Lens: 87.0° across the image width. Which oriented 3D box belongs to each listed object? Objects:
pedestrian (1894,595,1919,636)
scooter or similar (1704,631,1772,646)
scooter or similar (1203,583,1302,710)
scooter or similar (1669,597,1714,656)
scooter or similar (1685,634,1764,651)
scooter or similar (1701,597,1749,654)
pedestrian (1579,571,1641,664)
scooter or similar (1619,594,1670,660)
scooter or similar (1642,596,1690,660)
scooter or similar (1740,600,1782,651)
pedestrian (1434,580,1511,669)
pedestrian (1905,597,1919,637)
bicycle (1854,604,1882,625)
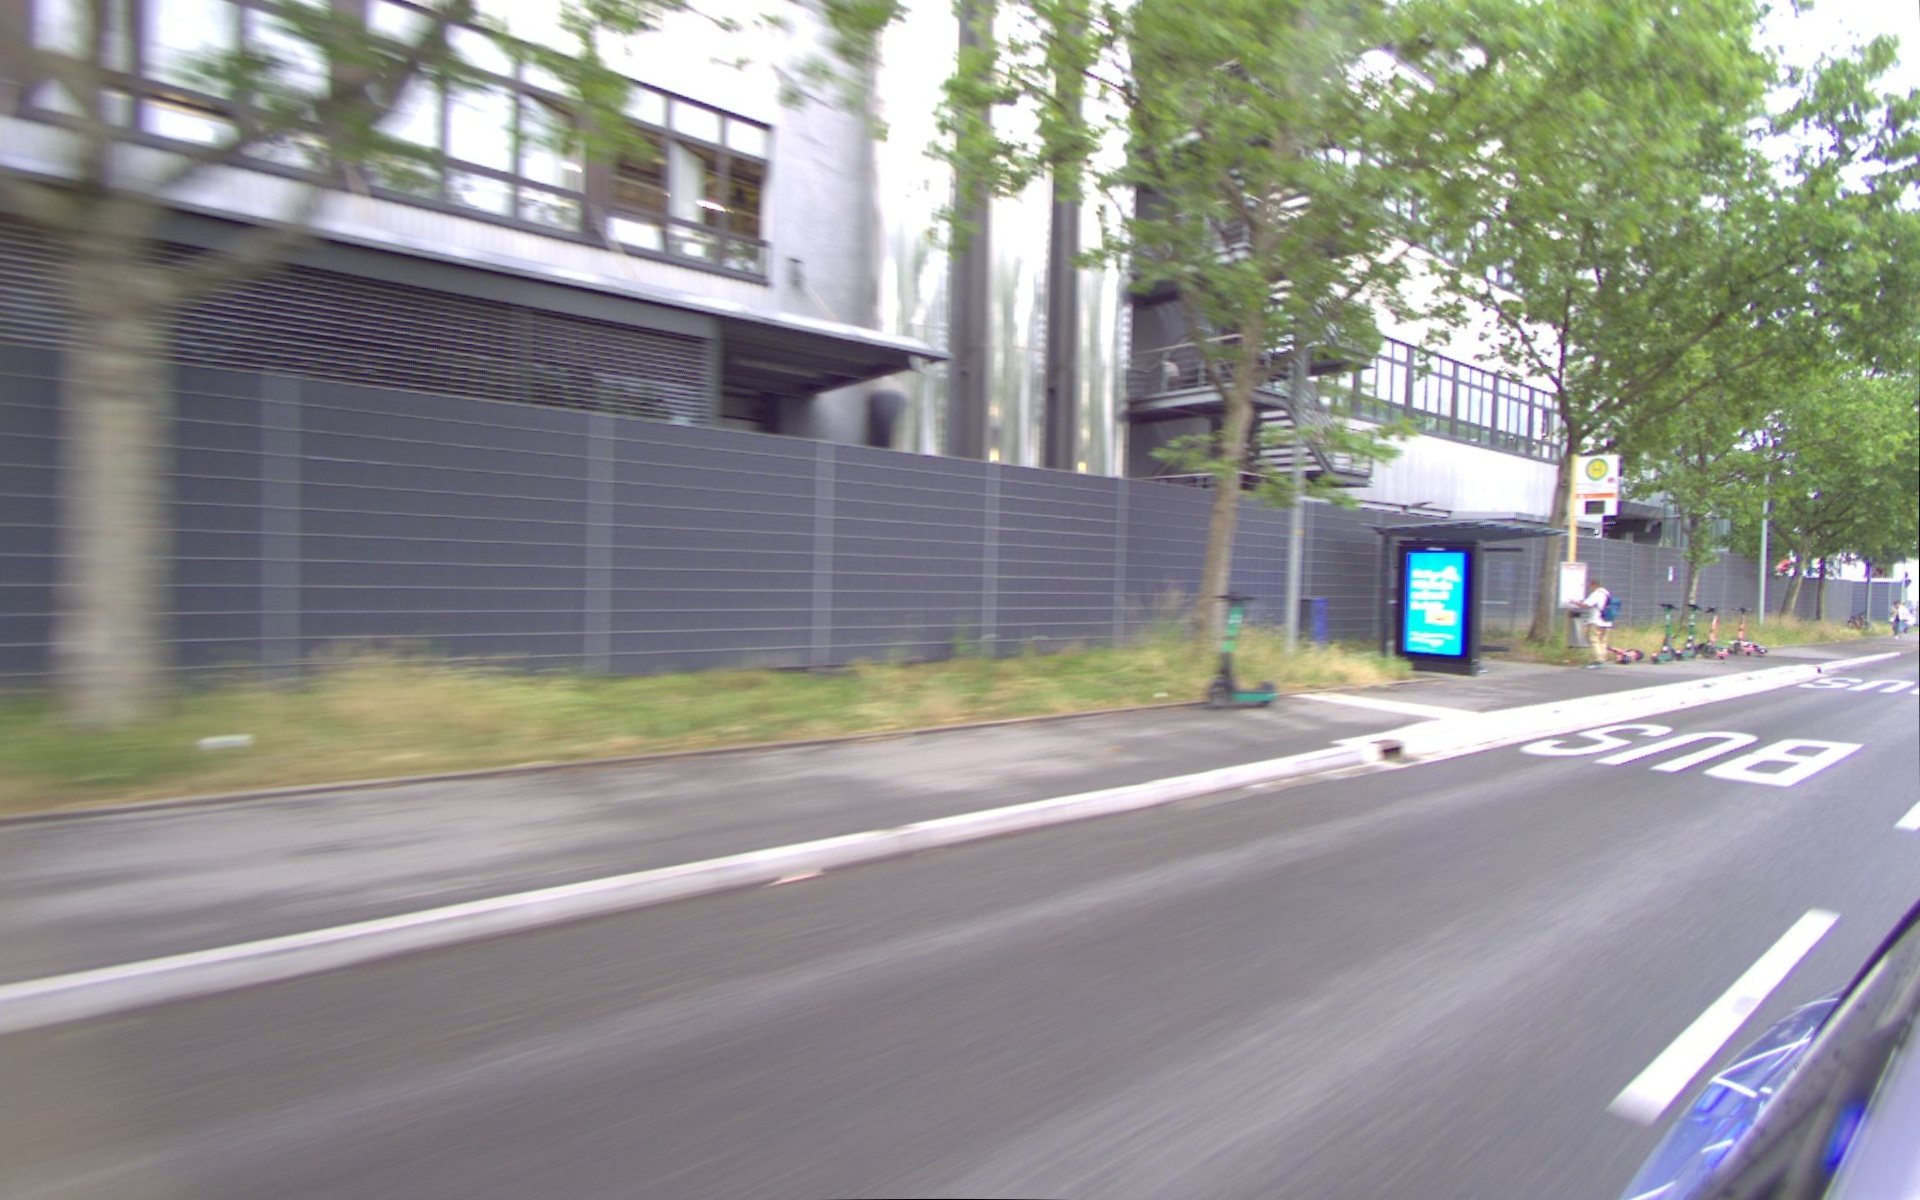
[{"bbox_3d":[39.355,0.625,41.959,0.818,1.638,0.723,0,4,-41],"label":"pedestrian"},{"bbox_3d":[21.513,1.059,28.016,1.169,0.314,1.194,2,2,22],"label":"scooter or similar"},{"bbox_3d":[3.227,0.488,11.119,1.222,1.324,0.330,1,1,-36],"label":"scooter or similar"},{"bbox_3d":[16.679,0.591,23.065,1.276,1.311,0.437,1,1,-37],"label":"scooter or similar"},{"bbox_3d":[19.754,1.090,26.177,1.231,0.349,1.104,1,2,-17],"label":"scooter or similar"},{"bbox_3d":[18.260,0.608,24.157,1.340,1.311,0.437,1,1,-33],"label":"scooter or similar"},{"bbox_3d":[12.436,0.315,19.362,0.716,1.731,0.777,1,1,-41],"label":"pedestrian"},{"bbox_3d":[14.043,0.545,20.761,1.276,1.311,0.437,1,1,-37],"label":"scooter or similar"},{"bbox_3d":[15.078,0.580,21.595,1.276,1.311,0.437,1,1,-37],"label":"scooter or similar"},{"bbox_3d":[21.087,0.665,26.640,1.275,1.301,0.437,1,1,-33],"label":"scooter or similar"},{"bbox_3d":[8.713,0.394,17.216,0.686,1.433,0.932,1,2,-41],"label":"pedestrian"},{"bbox_3d":[41.895,0.760,44.222,0.818,1.686,0.723,0,4,-41],"label":"pedestrian"},{"bbox_3d":[41.407,0.653,46.166,1.872,0.886,0.727,0,1,-41],"label":"bicycle"}]
